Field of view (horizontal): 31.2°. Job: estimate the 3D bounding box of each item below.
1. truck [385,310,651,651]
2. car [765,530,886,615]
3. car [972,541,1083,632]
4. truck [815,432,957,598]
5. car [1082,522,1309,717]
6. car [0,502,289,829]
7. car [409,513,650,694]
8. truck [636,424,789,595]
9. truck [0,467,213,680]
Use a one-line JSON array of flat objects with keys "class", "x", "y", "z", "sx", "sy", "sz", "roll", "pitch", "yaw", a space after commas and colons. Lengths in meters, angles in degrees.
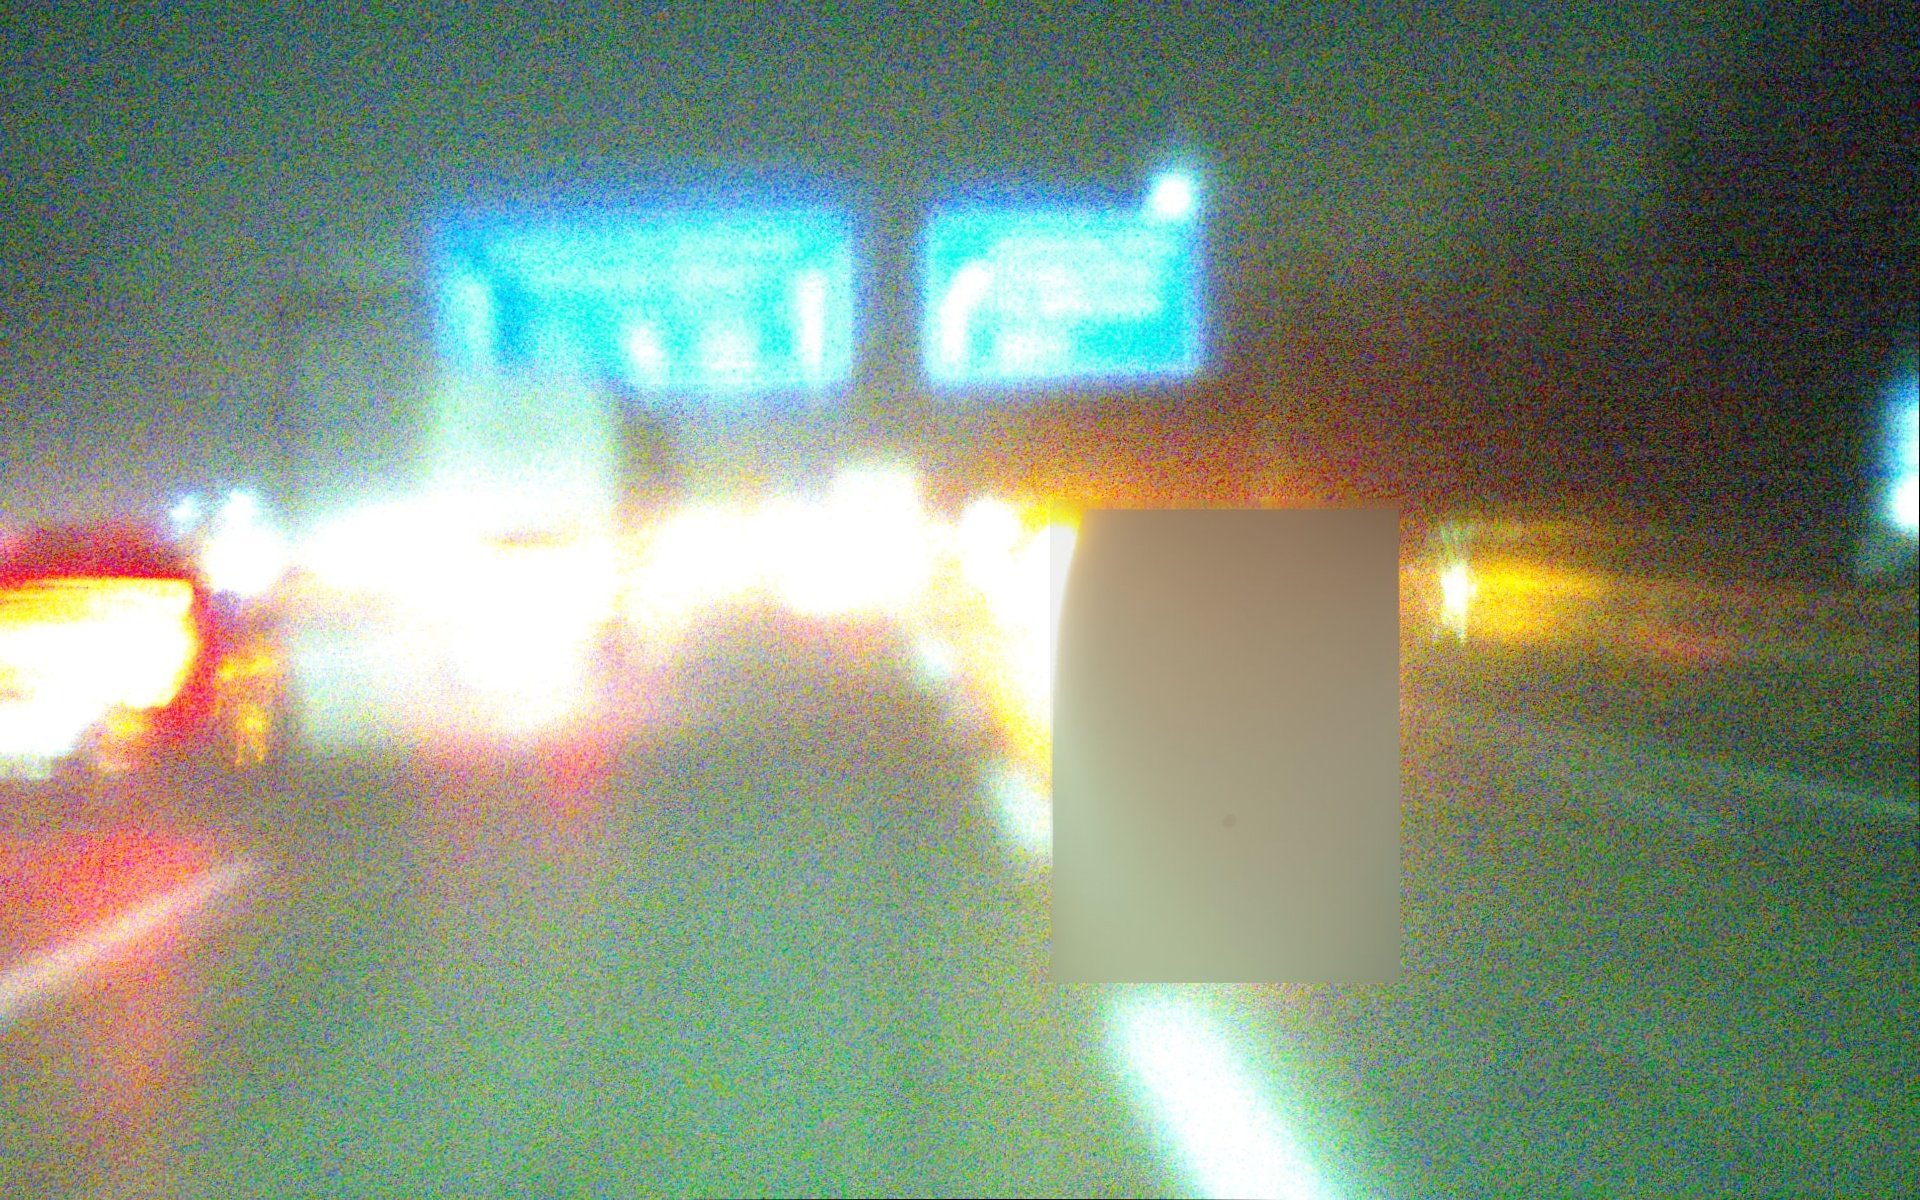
[{"class": "truck", "x": -6.661, "y": -1.745, "z": 53.243, "sx": 3.655, "sy": 4.721, "sz": 9.854, "roll": 1, "pitch": 1, "yaw": -5}, {"class": "car", "x": -3.311, "y": -0.707, "z": 85.811, "sx": 2.833, "sy": 2.007, "sz": 5.510, "roll": 1, "pitch": 1, "yaw": -1}, {"class": "car", "x": 1.289, "y": -0.283, "z": 67.314, "sx": 1.993, "sy": 1.698, "sz": 4.459, "roll": 1, "pitch": 1, "yaw": -1}, {"class": "truck", "x": -2.555, "y": -2.768, "z": 114.014, "sx": 4.161, "sy": 5.197, "sz": 9.956, "roll": 1, "pitch": 1, "yaw": -4}, {"class": "car", "x": 2.224, "y": 0.148, "z": 33.417, "sx": 1.878, "sy": 1.756, "sz": 4.000, "roll": 1, "pitch": 1, "yaw": 0}, {"class": "car", "x": -5.029, "y": 0.287, "z": 19.808, "sx": 1.765, "sy": 1.683, "sz": 4.001, "roll": 0, "pitch": 2, "yaw": -4}, {"class": "car", "x": -4.443, "y": 0.003, "z": 36.127, "sx": 2.038, "sy": 1.755, "sz": 4.516, "roll": 1, "pitch": 1, "yaw": -1}, {"class": "truck", "x": -8.245, "y": -2.981, "z": 116.156, "sx": 4.254, "sy": 5.425, "sz": 10.884, "roll": 1, "pitch": 1, "yaw": 0}, {"class": "truck", "x": -10.274, "y": -0.330, "z": 38.571, "sx": 2.857, "sy": 2.193, "sz": 5.859, "roll": 1, "pitch": 1, "yaw": -4}]
